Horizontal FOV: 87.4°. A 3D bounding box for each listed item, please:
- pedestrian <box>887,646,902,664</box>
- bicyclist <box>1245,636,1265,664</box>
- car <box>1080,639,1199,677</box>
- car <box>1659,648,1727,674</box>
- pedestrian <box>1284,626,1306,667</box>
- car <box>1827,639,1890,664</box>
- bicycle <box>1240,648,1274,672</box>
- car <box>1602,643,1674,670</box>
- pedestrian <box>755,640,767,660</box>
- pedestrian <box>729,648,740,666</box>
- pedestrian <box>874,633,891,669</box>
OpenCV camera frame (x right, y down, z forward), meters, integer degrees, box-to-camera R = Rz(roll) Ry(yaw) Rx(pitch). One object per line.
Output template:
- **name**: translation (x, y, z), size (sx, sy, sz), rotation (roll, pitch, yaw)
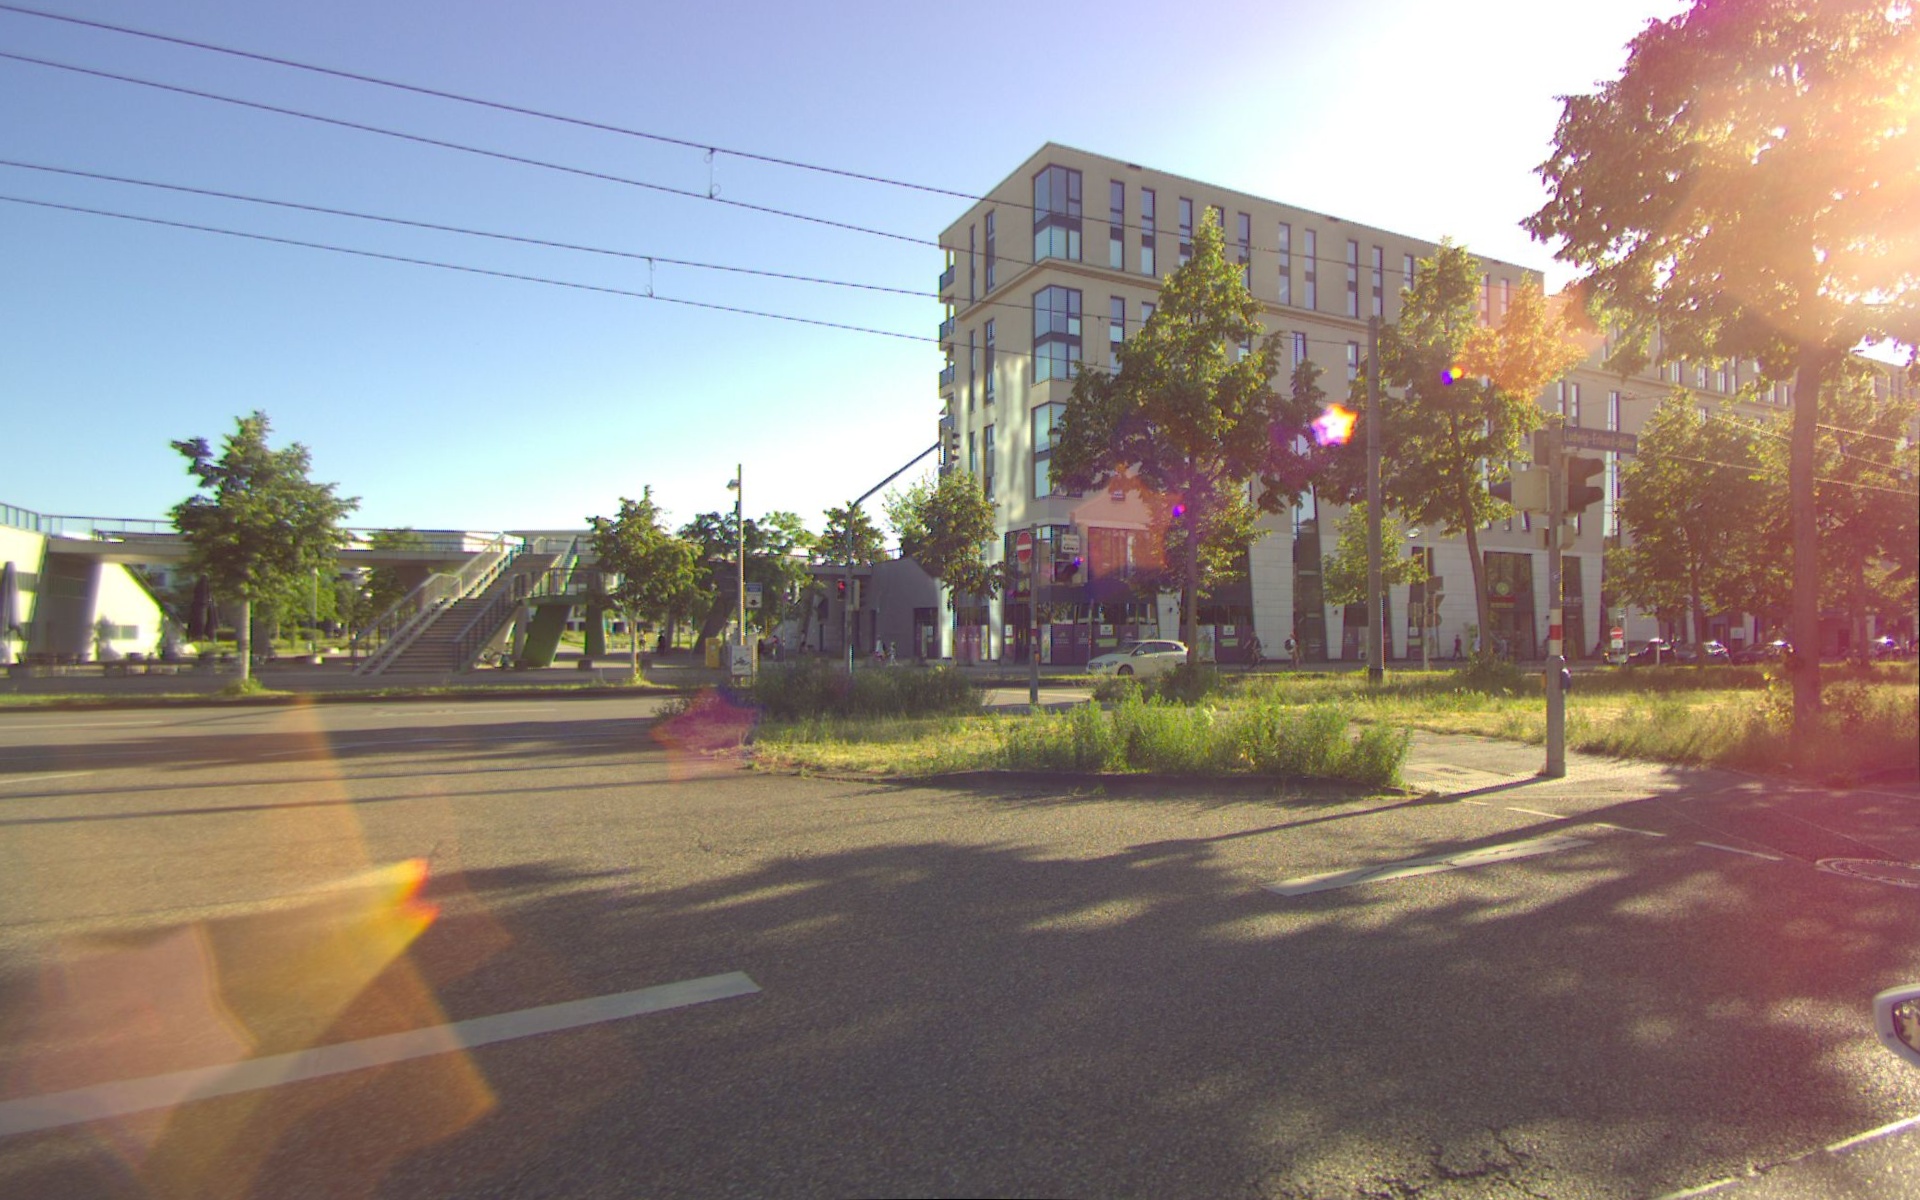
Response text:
- **pedestrian**: translation (-3.428, 2.885, 52.530), size (0.589, 0.932, 0.433), rotation (1, -1, 28)
- **bicyclist**: translation (14.143, 2.389, 48.202), size (0.696, 1.310, 0.576), rotation (2, -1, -26)
- **car**: translation (6.849, 2.182, 38.232), size (4.414, 1.360, 1.574), rotation (1, -2, -27)
- **car**: translation (40.662, 3.367, 55.724), size (3.664, 1.360, 1.574), rotation (1, -2, -27)
- **pedestrian**: translation (15.380, 2.143, 46.122), size (0.791, 1.836, 0.576), rotation (2, -1, -30)
- **car**: translation (57.676, 3.295, 64.478), size (3.757, 1.548, 1.770), rotation (1, -2, -27)
- **bicycle**: translation (14.271, 2.898, 48.258), size (1.617, 1.125, 0.526), rotation (2, -1, -27)
- **car**: translation (35.743, 2.952, 52.940), size (3.664, 1.360, 1.574), rotation (1, -2, -27)
- **pedestrian**: translation (-11.699, 2.931, 59.114), size (0.592, 1.140, 0.437), rotation (1, -1, -24)
- **pedestrian**: translation (-14.128, 3.573, 62.849), size (0.592, 1.140, 0.437), rotation (1, -1, -24)
- **pedestrian**: translation (-3.981, 2.588, 51.403), size (0.589, 1.795, 0.672), rotation (1, -1, 27)
